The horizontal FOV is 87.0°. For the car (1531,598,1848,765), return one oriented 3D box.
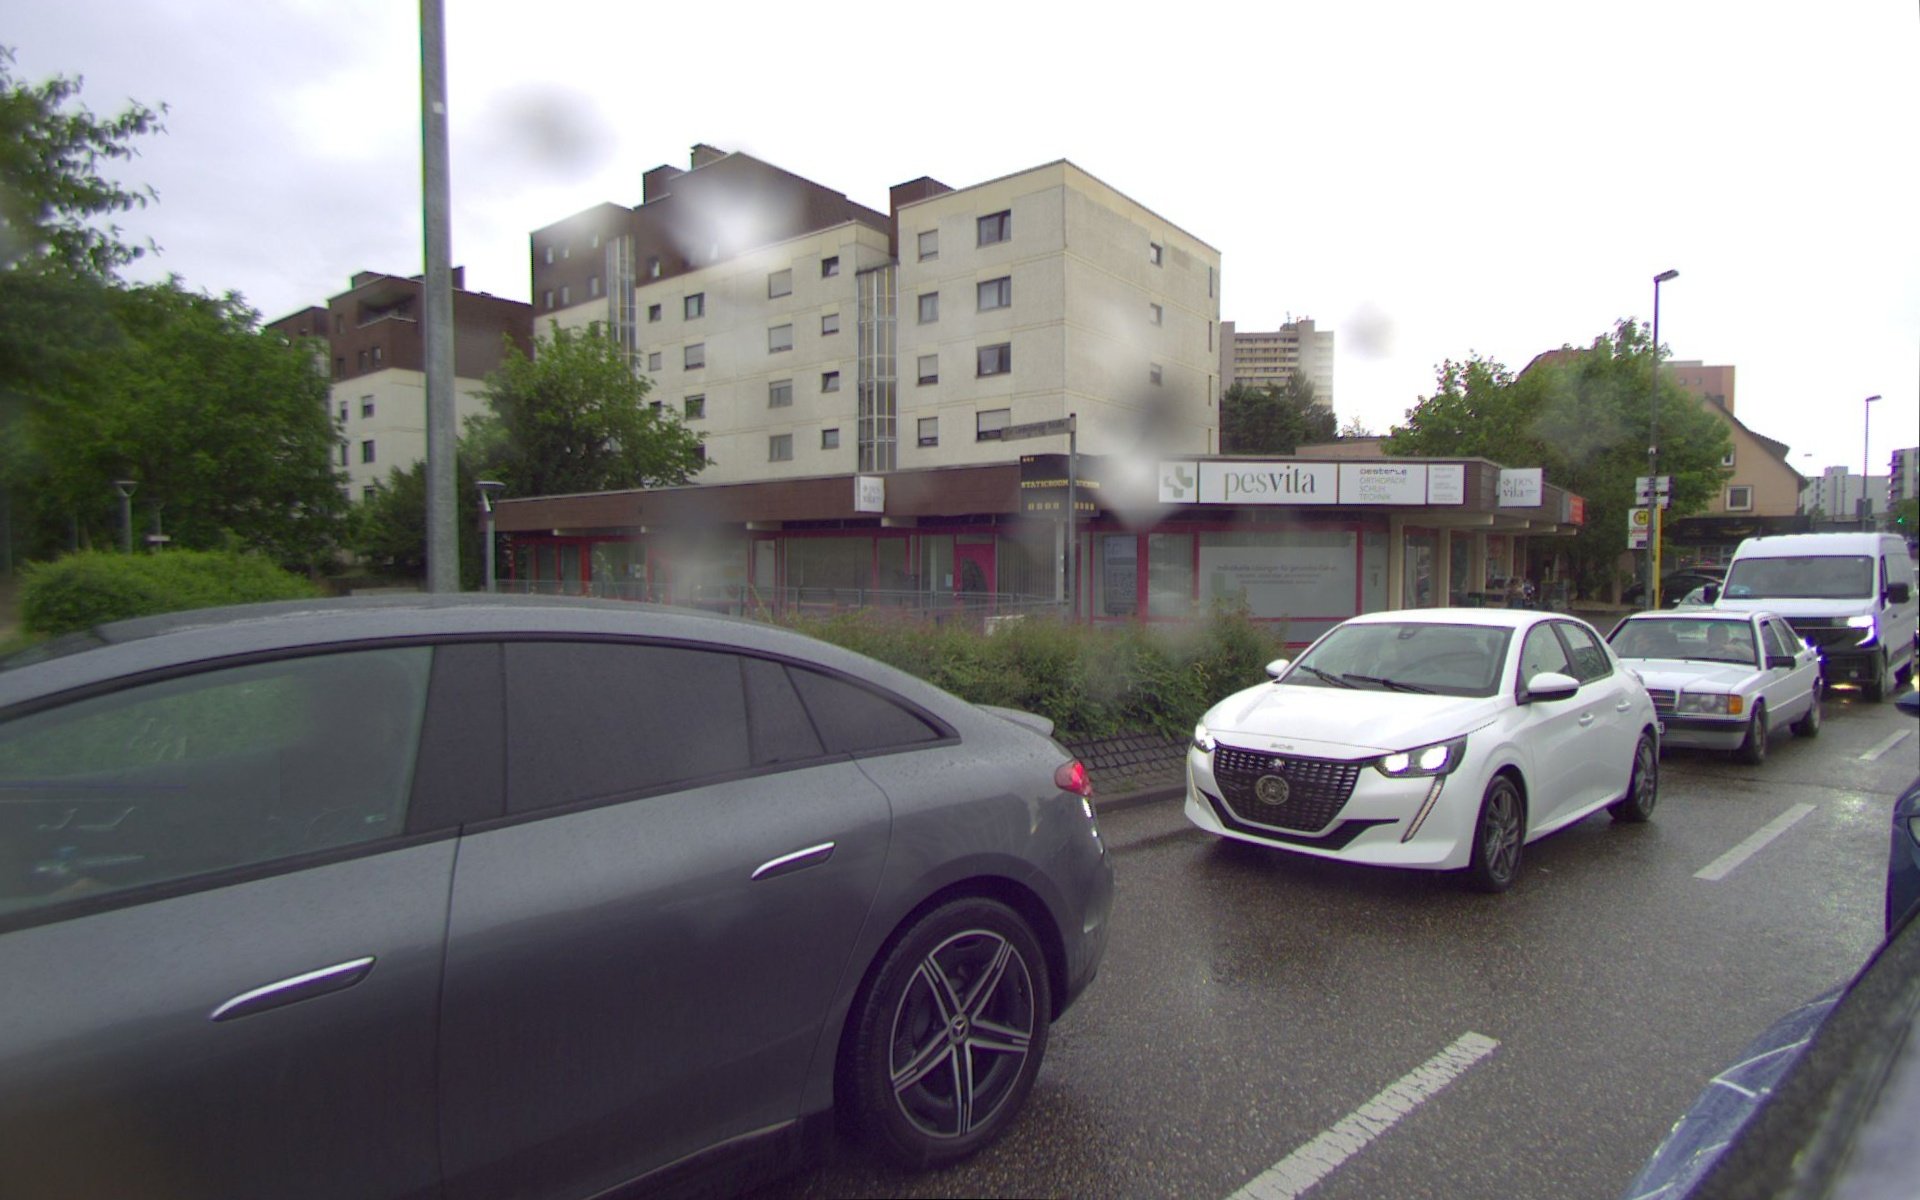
[{"bbox_3d":[7.726,0.685,10.575,4.089,1.362,1.787,-1,1,-41],"label":"car"}]

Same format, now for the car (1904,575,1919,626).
[{"bbox_3d":[31.855,-0.015,32.500,3.933,1.588,1.996,-2,1,-43],"label":"car"}]

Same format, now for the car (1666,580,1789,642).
[{"bbox_3d":[20.250,0.237,26.650,3.930,1.509,1.787,-1,1,-41],"label":"car"}]

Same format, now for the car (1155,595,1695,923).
[{"bbox_3d":[3.183,0.709,6.523,4.043,1.433,1.665,-1,1,-41],"label":"car"}]

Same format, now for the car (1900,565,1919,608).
[{"bbox_3d":[46.765,-0.667,48.541,3.930,2.038,1.998,-1,3,-40],"label":"car"}]

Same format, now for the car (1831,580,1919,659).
[{"bbox_3d":[20.342,0.358,21.826,3.930,1.558,1.802,-1,2,-41],"label":"car"}]

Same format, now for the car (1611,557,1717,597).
[{"bbox_3d":[33.090,-1.099,47.587,3.981,1.801,1.858,2,2,39],"label":"car"}]

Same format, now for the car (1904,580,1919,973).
[{"bbox_3d":[5.407,0.621,4.370,3.933,1.406,1.690,-1,1,-43],"label":"car"}]

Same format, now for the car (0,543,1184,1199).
[{"bbox_3d":[-1.641,0.667,2.417,4.724,1.485,1.840,0,-1,-41],"label":"car"}]

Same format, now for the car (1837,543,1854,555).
[{"bbox_3d":[139.492,-8.017,159.415,1.657,1.654,3.754,1,1,37],"label":"car"}]

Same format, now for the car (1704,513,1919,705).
[{"bbox_3d":[13.991,0.038,16.321,6.021,2.549,2.194,-2,2,-43],"label":"car"}]

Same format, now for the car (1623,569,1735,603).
[{"bbox_3d":[32.094,-0.636,45.240,3.981,1.445,1.858,2,2,39],"label":"car"}]

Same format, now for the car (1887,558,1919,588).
[{"bbox_3d":[60.143,-1.667,63.879,3.930,1.776,1.879,0,3,-41],"label":"car"}]
